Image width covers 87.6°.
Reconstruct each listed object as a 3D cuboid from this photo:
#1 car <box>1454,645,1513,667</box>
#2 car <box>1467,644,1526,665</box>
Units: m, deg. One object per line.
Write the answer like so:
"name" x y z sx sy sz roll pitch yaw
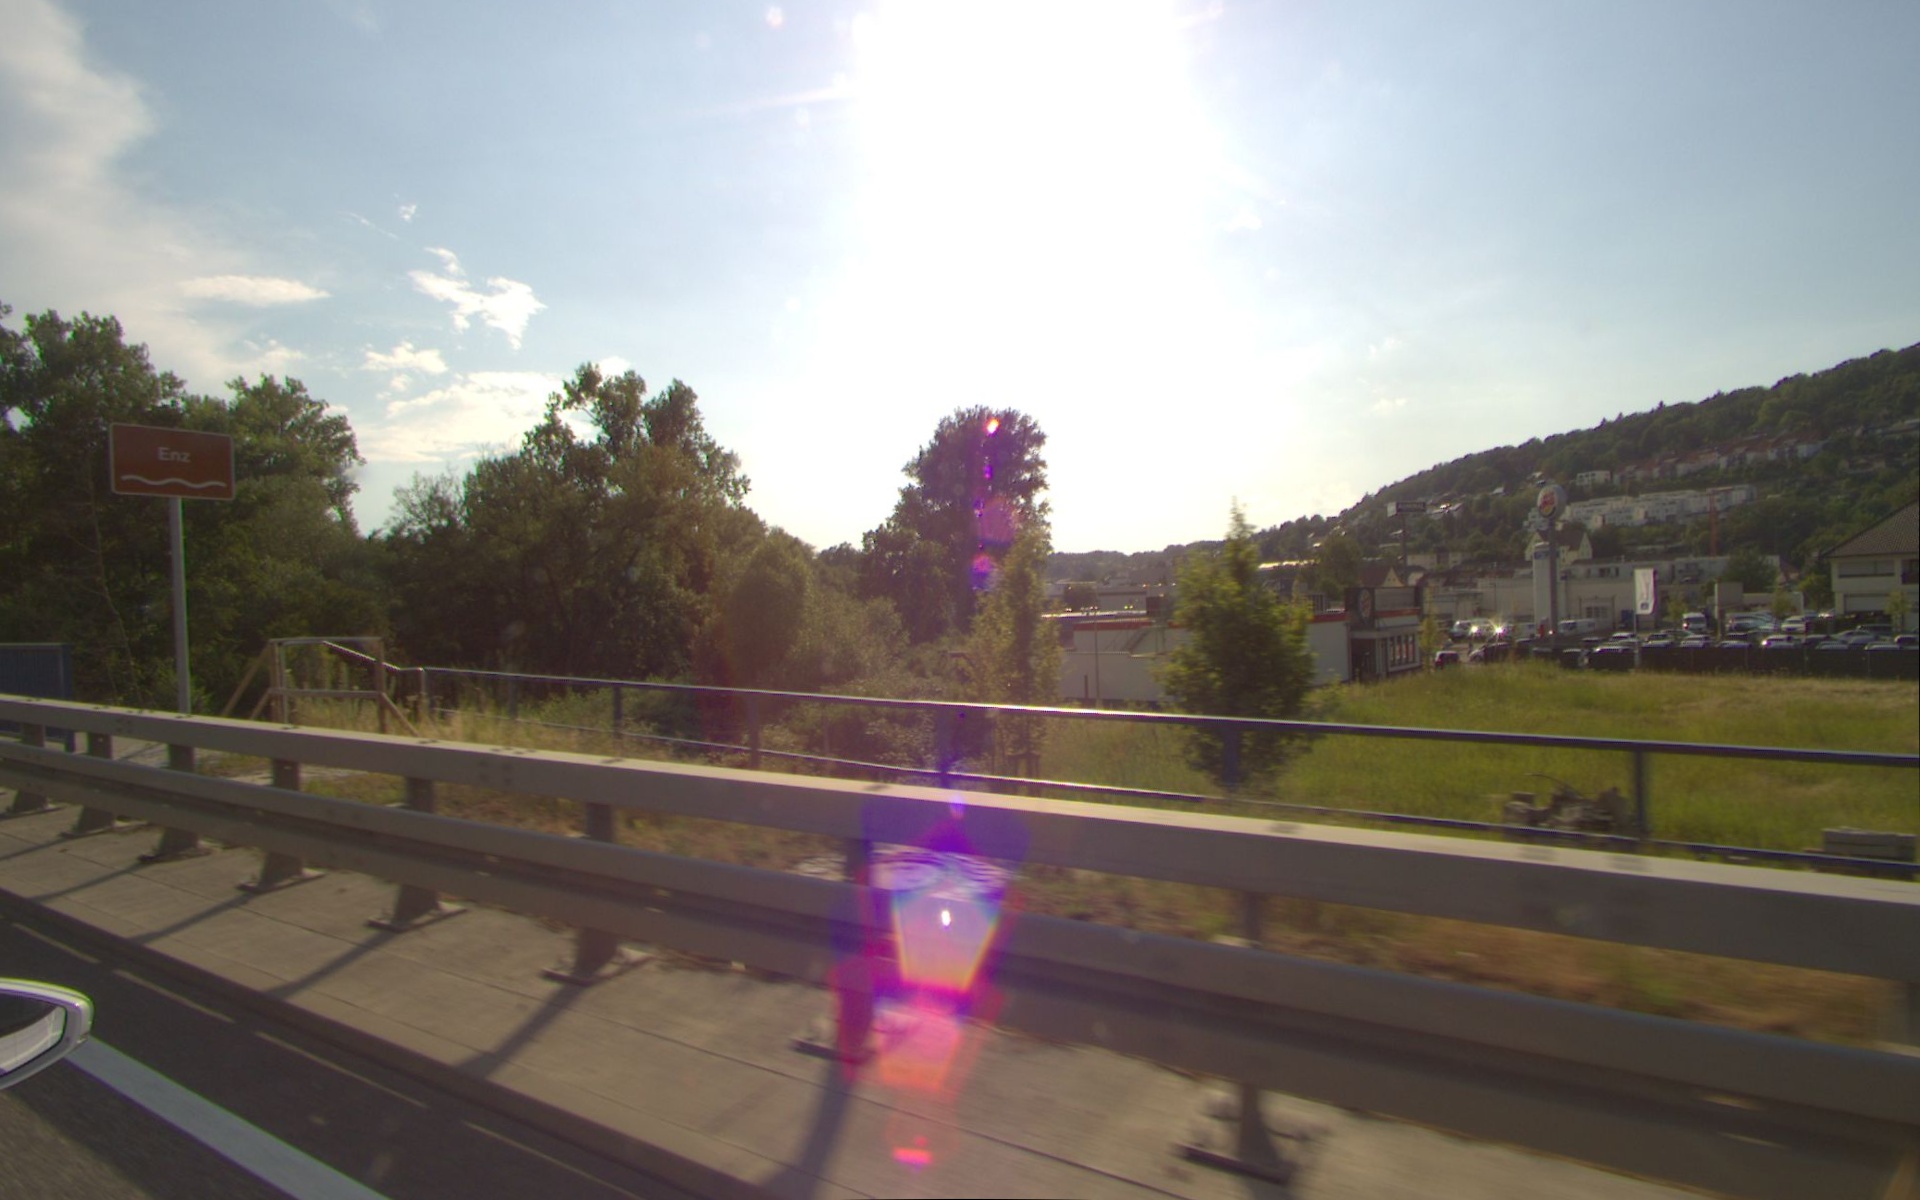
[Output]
"car" 40.997 4.375 78.465 1.732 1.597 3.752 1 -2 -38
"car" 42.918 4.374 80.159 1.732 1.597 3.752 1 -2 -38
